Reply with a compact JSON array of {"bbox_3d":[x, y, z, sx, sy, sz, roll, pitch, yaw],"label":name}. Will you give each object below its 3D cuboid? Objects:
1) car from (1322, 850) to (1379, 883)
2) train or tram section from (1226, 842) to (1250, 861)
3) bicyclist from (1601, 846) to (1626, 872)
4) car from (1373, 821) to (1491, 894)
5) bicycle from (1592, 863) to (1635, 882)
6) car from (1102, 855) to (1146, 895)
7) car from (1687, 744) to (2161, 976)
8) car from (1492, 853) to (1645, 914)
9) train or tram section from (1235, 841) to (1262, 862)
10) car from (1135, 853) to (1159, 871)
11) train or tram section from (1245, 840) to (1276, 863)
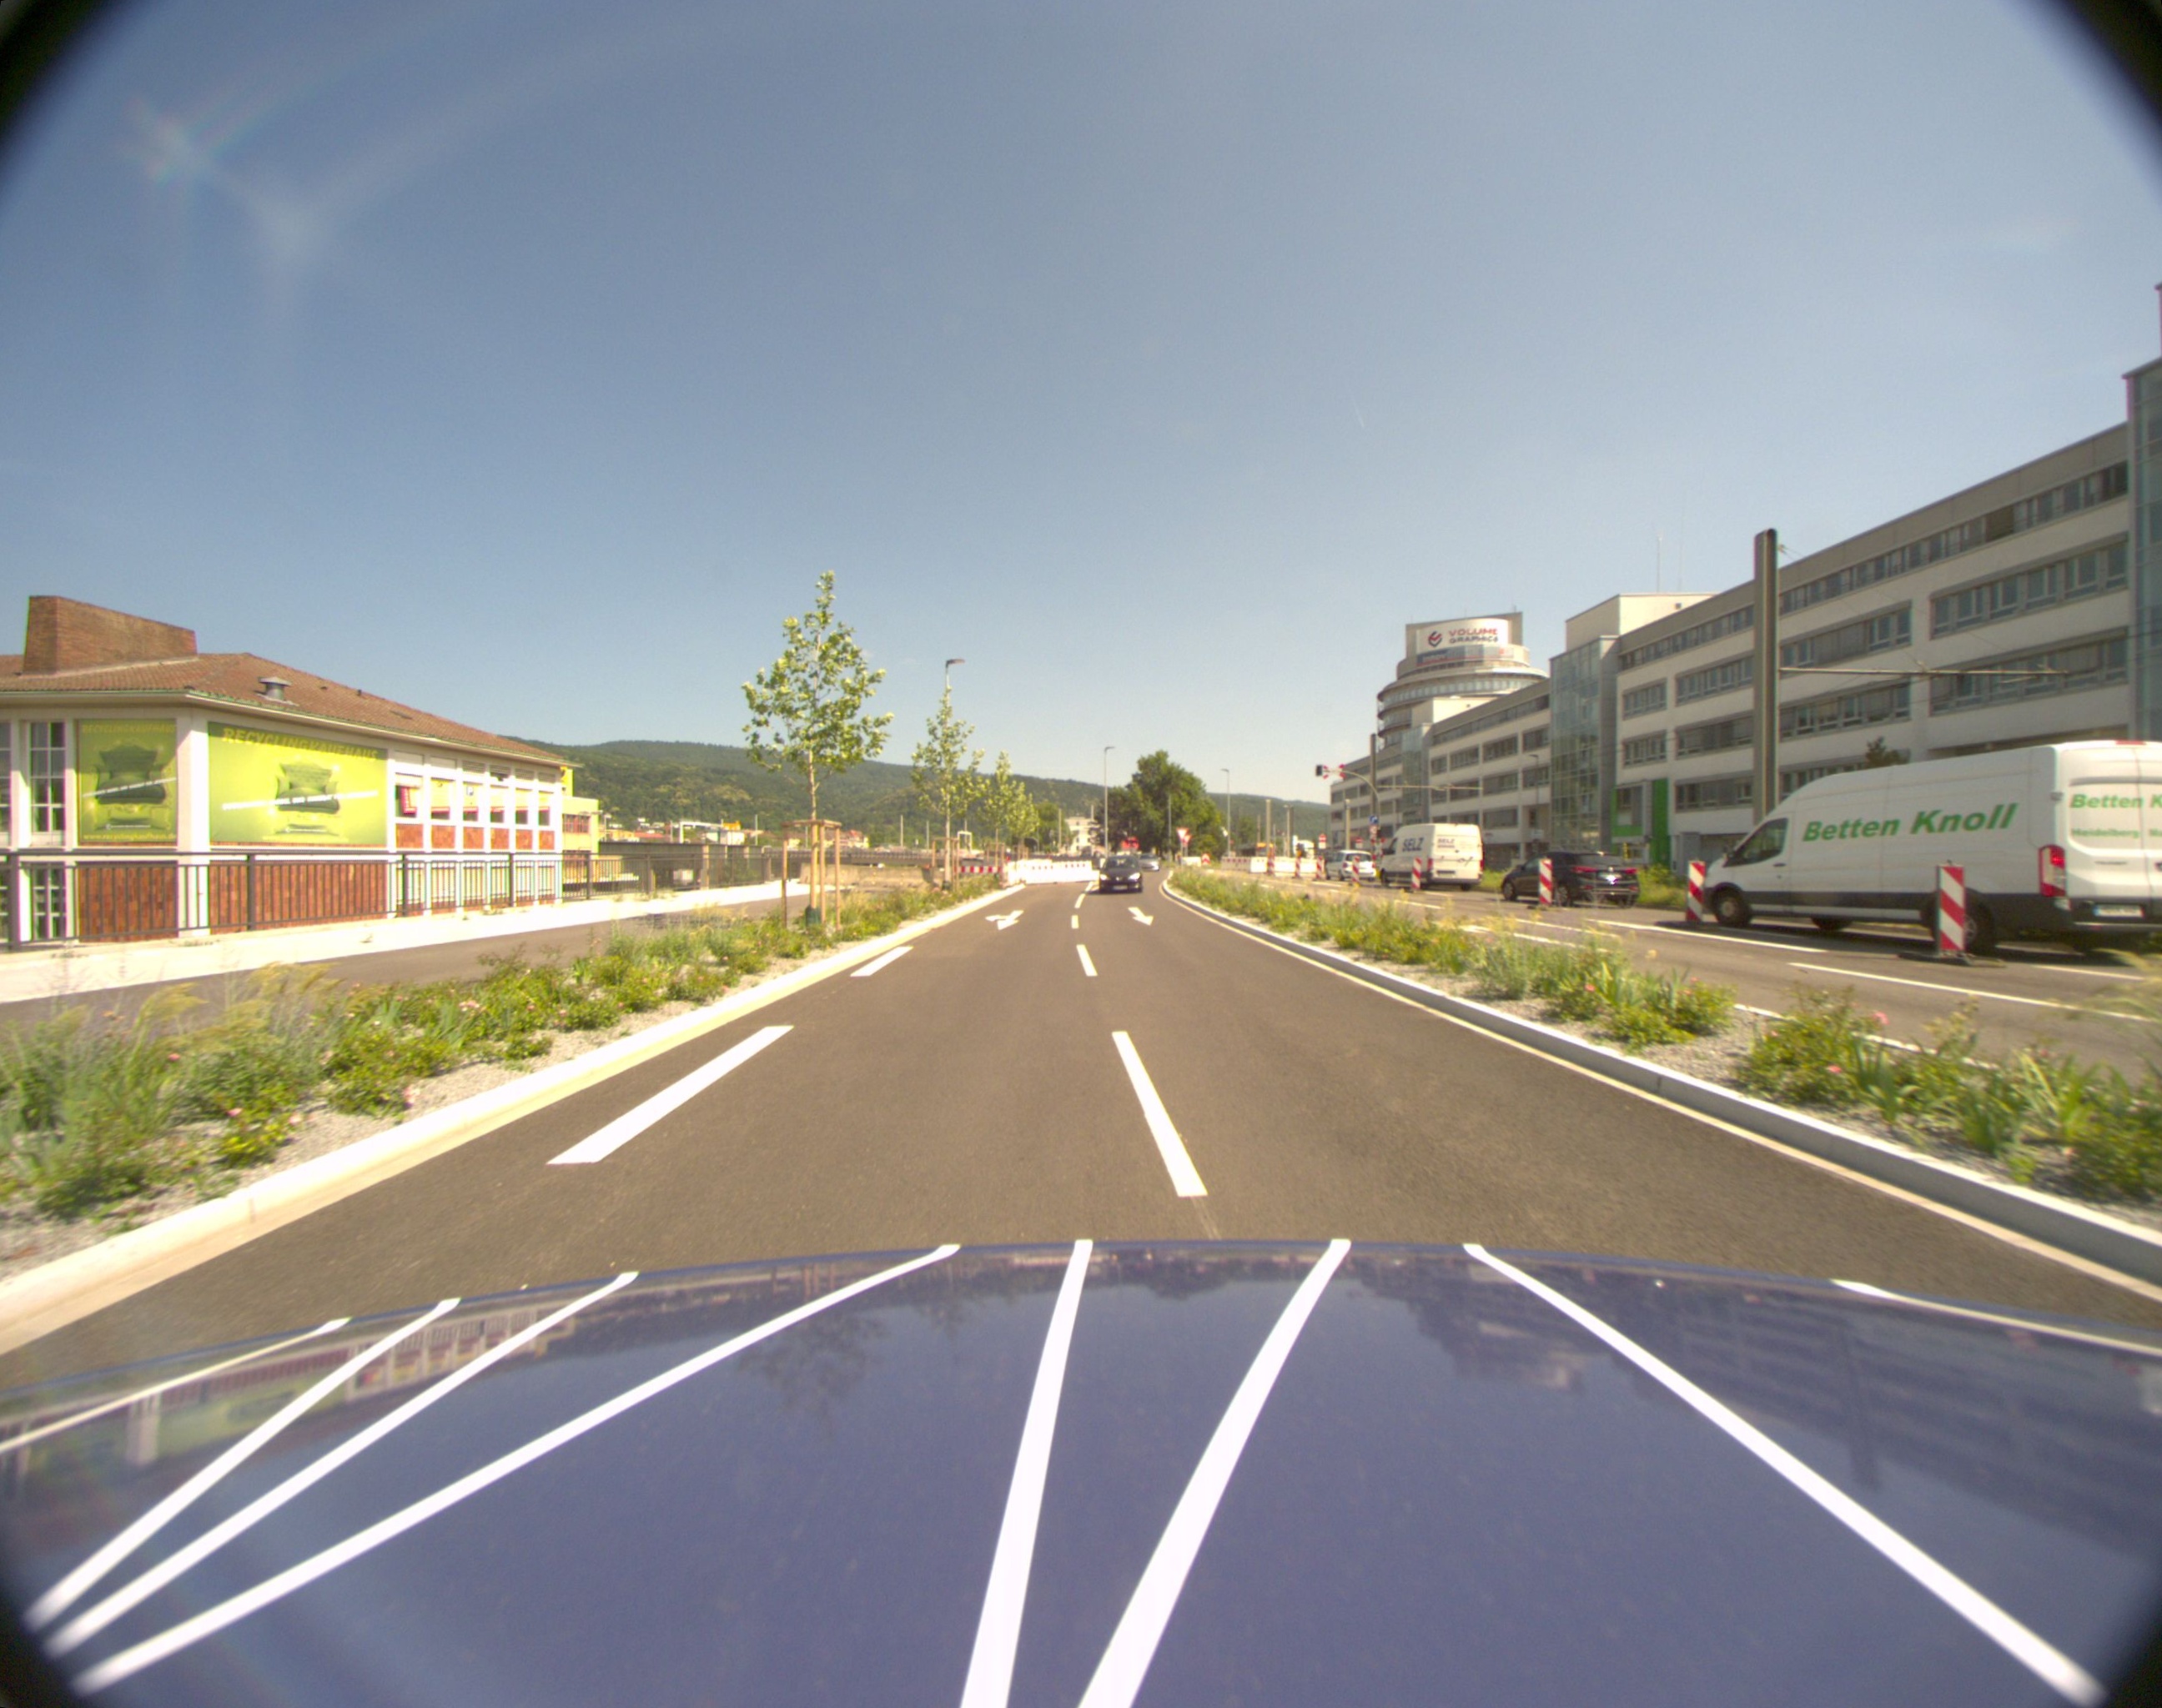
[{"bbox_3d":[13.705,0.593,38.887,1.584,1.532,3.978,2,0,2],"label":"car"},{"bbox_3d":[29.503,-0.506,142.928,2.630,3.430,11.783,-2,0,4],"label":"train or tram section"},{"bbox_3d":[31.948,0.272,45.619,0.756,1.530,1.077,-1,1,3],"label":"bicyclist"},{"bbox_3d":[13.803,0.121,30.416,2.035,2.563,6.195,2,0,3],"label":"car"},{"bbox_3d":[31.962,1.086,45.654,0.756,1.012,2.831,-1,1,3],"label":"bicycle"},{"bbox_3d":[1.608,0.759,29.326,1.618,1.433,3.707,0,1,2],"label":"car"},{"bbox_3d":[12.889,0.072,11.949,2.082,2.724,5.987,1,0,3],"label":"car"},{"bbox_3d":[13.062,0.720,20.694,1.549,1.448,4.193,2,0,2],"label":"car"},{"bbox_3d":[28.808,-0.457,131.199,2.630,3.430,11.783,-2,0,4],"label":"train or tram section"},{"bbox_3d":[5.281,0.619,60.940,1.618,1.433,3.768,0,1,1],"label":"car"},{"bbox_3d":[28.090,-0.415,119.427,2.630,3.430,11.783,-2,0,4],"label":"train or tram section"}]
